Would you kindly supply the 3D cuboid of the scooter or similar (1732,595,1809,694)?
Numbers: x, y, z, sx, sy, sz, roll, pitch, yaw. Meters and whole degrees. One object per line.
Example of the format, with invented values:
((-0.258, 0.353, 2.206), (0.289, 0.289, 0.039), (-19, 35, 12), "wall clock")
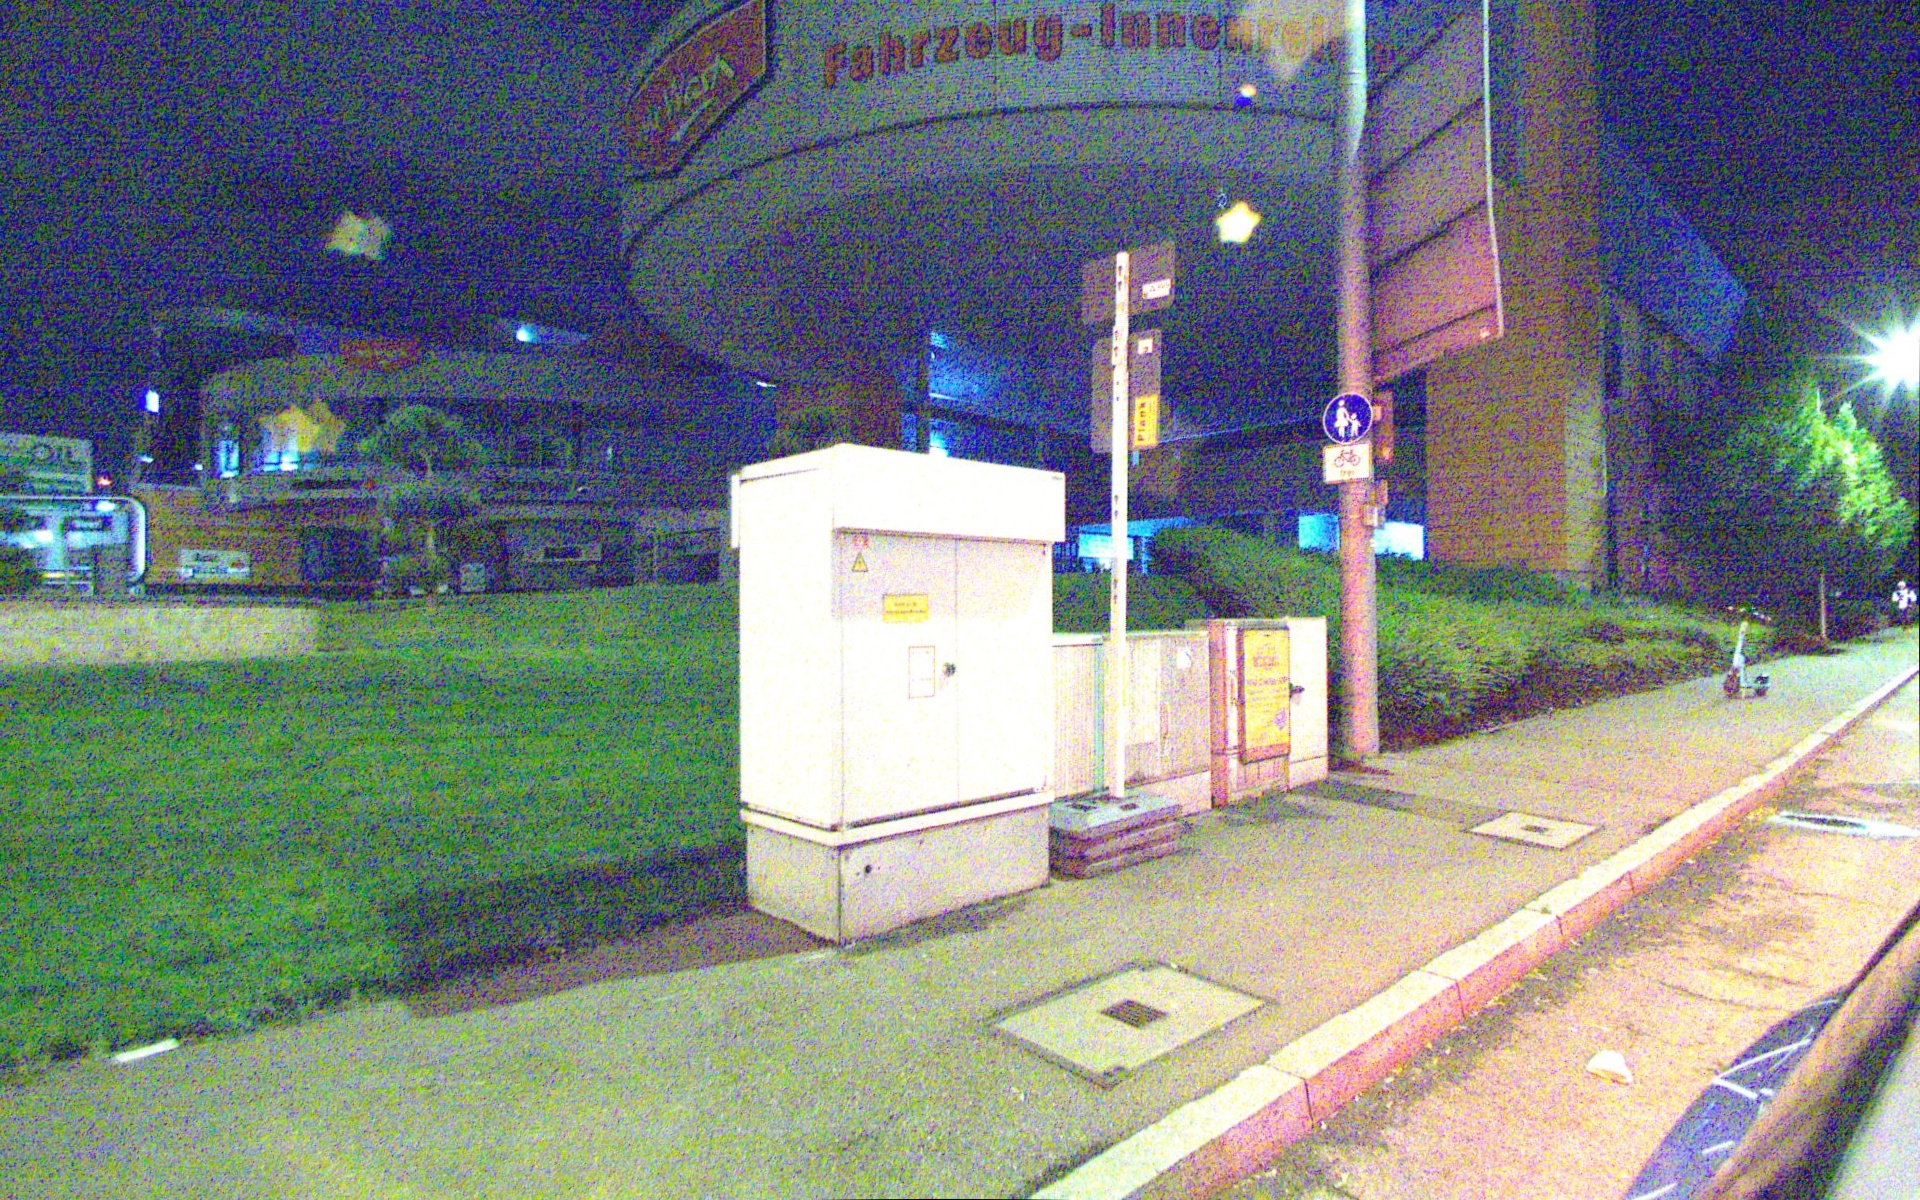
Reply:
((11.260, 0.592, 14.049), (1.367, 1.295, 0.569), (0, 1, -41), "scooter or similar")

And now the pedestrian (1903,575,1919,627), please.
((34.603, 0.034, 36.459), (0.597, 1.842, 0.824), (-1, 0, -40), "pedestrian")
